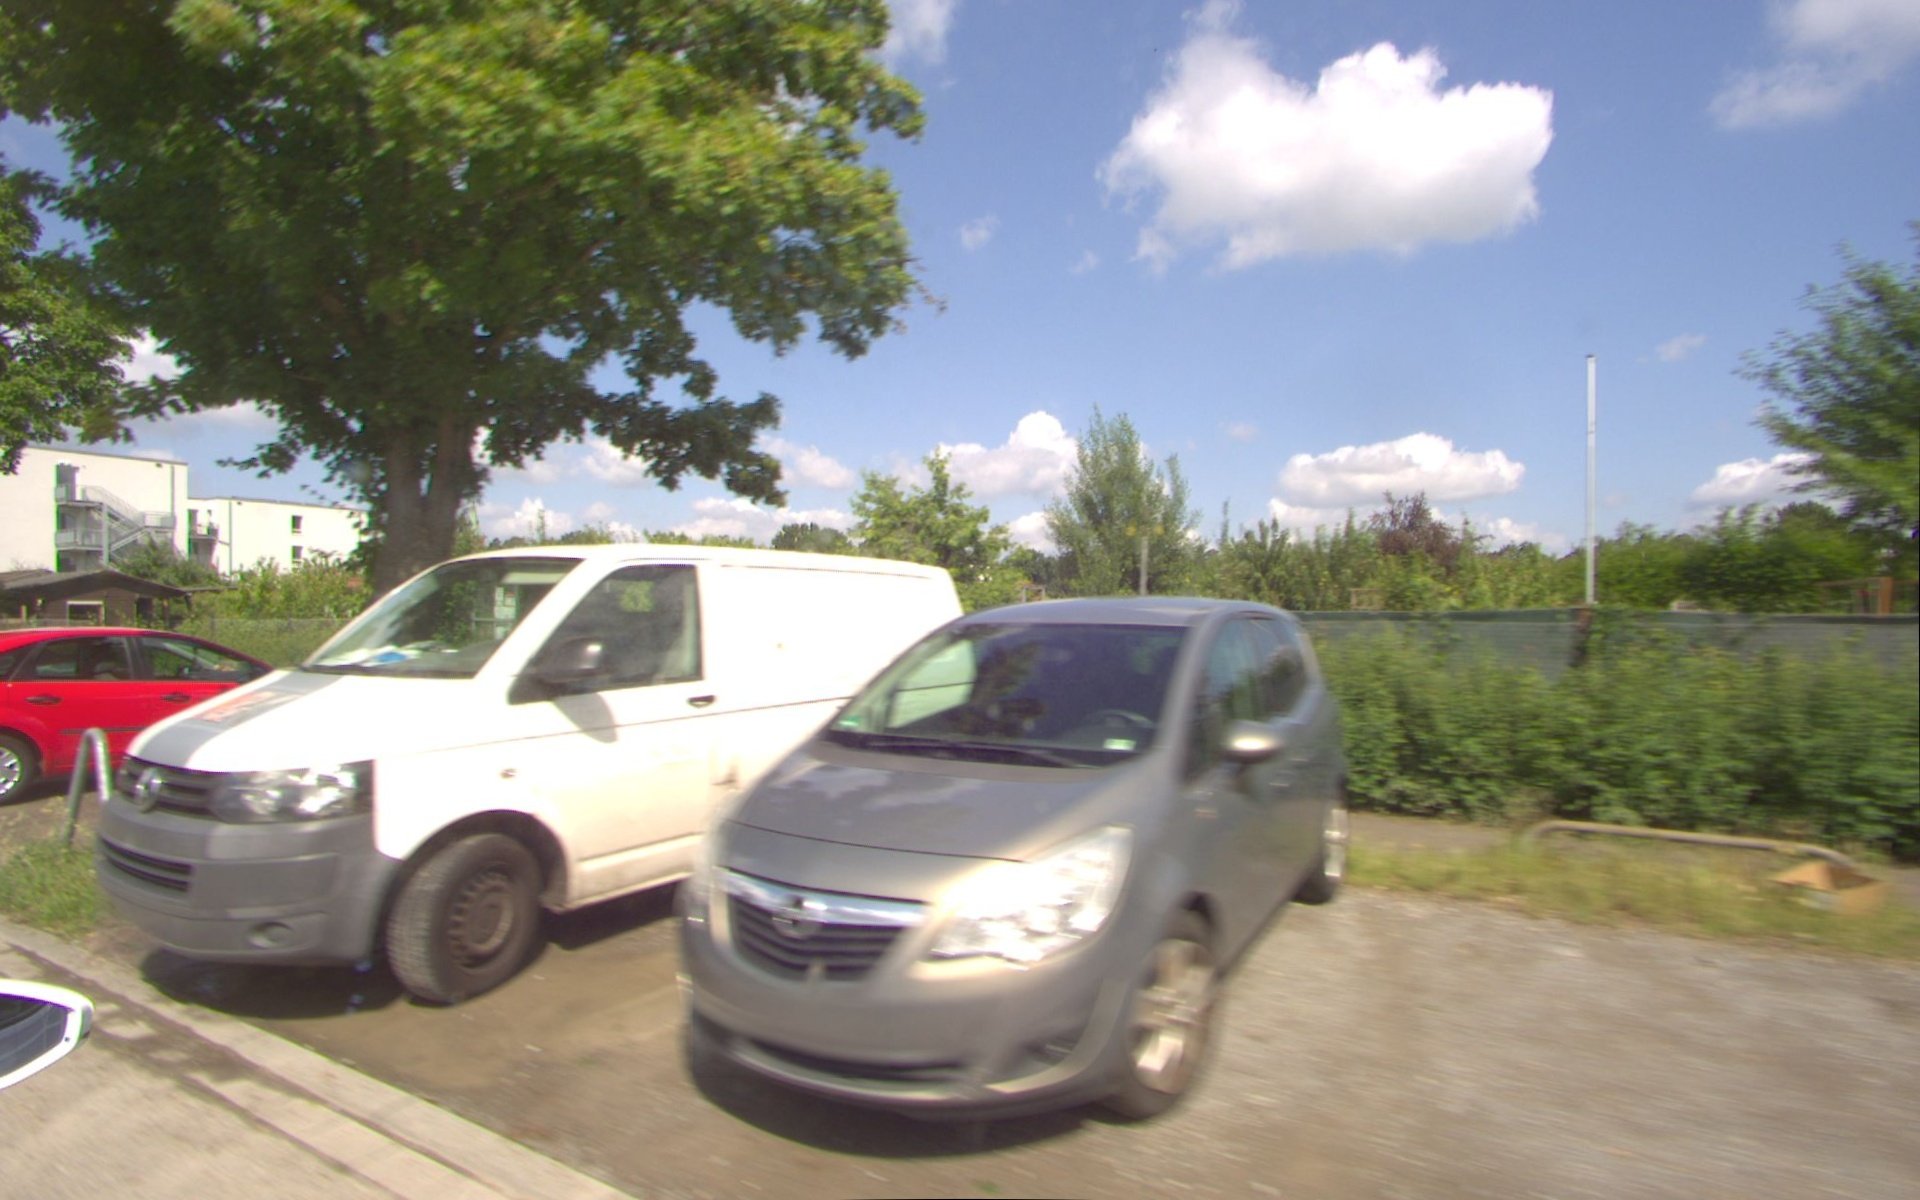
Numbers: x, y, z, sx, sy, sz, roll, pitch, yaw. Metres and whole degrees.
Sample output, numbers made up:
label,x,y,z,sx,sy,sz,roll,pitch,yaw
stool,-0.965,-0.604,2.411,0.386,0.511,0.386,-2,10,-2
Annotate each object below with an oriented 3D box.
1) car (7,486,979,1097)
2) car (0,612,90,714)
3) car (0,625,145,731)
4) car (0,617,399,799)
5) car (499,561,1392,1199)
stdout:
label,x,y,z,sx,sy,sz,roll,pitch,yaw
car,-1.925,0.606,5.662,2.080,1.911,4.627,0,0,30
car,-16.219,0.970,15.517,1.843,1.593,3.759,-1,-3,32
car,-14.164,1.060,13.740,1.879,1.446,4.237,-1,-3,28
car,-8.160,0.970,9.913,1.852,1.523,4.176,-1,-3,33
car,0.497,0.730,4.434,1.971,1.613,4.234,0,0,32
